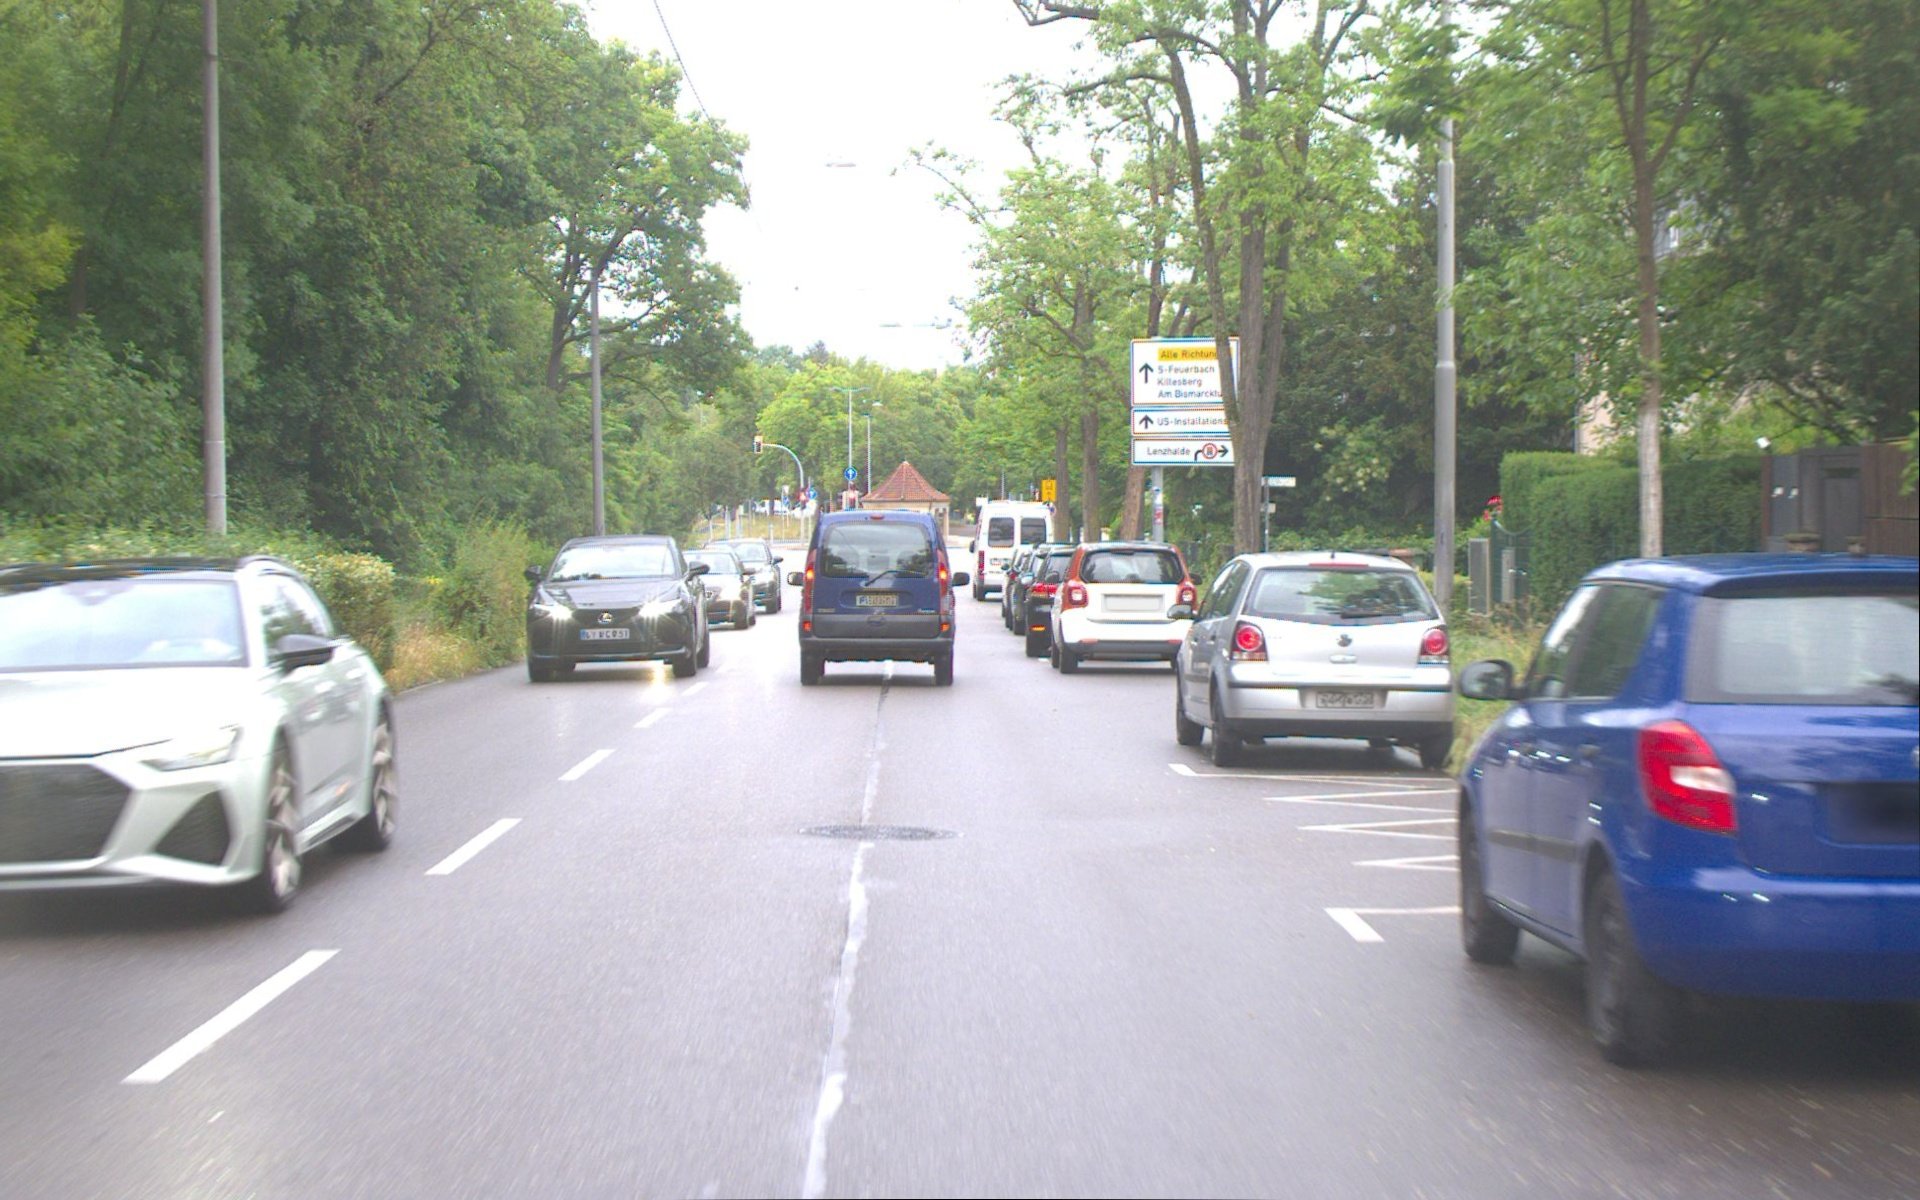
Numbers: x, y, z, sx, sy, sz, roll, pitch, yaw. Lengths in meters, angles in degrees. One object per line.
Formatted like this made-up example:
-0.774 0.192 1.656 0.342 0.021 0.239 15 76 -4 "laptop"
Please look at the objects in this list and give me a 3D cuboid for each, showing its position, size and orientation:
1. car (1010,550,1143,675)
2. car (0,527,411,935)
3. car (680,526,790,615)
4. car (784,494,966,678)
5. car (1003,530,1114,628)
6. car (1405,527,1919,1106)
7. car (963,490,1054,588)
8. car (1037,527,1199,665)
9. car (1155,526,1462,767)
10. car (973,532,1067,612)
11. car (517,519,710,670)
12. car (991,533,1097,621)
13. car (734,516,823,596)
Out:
1.565 0.135 46.630 1.698 1.519 3.868 1 2 2 "car"
-3.741 0.473 15.272 1.856 1.463 4.447 -2 2 0 "car"
-4.057 -0.571 62.620 1.728 1.438 5.113 -2 2 -1 "car"
-0.959 -0.195 36.817 1.766 1.824 3.543 1 2 -4 "car"
1.615 -0.383 57.722 1.698 1.519 4.211 1 1 0 "car"
2.619 0.554 11.301 1.721 1.500 4.051 1 2 0 "car"
1.210 -1.560 88.076 2.205 2.441 4.730 0 1 -1 "car"
1.837 -0.074 40.700 1.632 1.504 2.958 1 2 -2 "car"
2.404 0.267 24.540 1.618 1.503 3.835 1 2 -2 "car"
1.194 -0.587 69.770 1.698 1.519 3.868 1 1 -2 "car"
-3.944 -0.113 39.782 1.804 1.541 4.432 -2 2 -1 "car"
1.505 -0.447 62.994 1.698 1.519 3.868 1 1 -2 "car"
-3.900 -0.981 74.224 1.723 1.610 4.155 -1 2 -1 "car"
